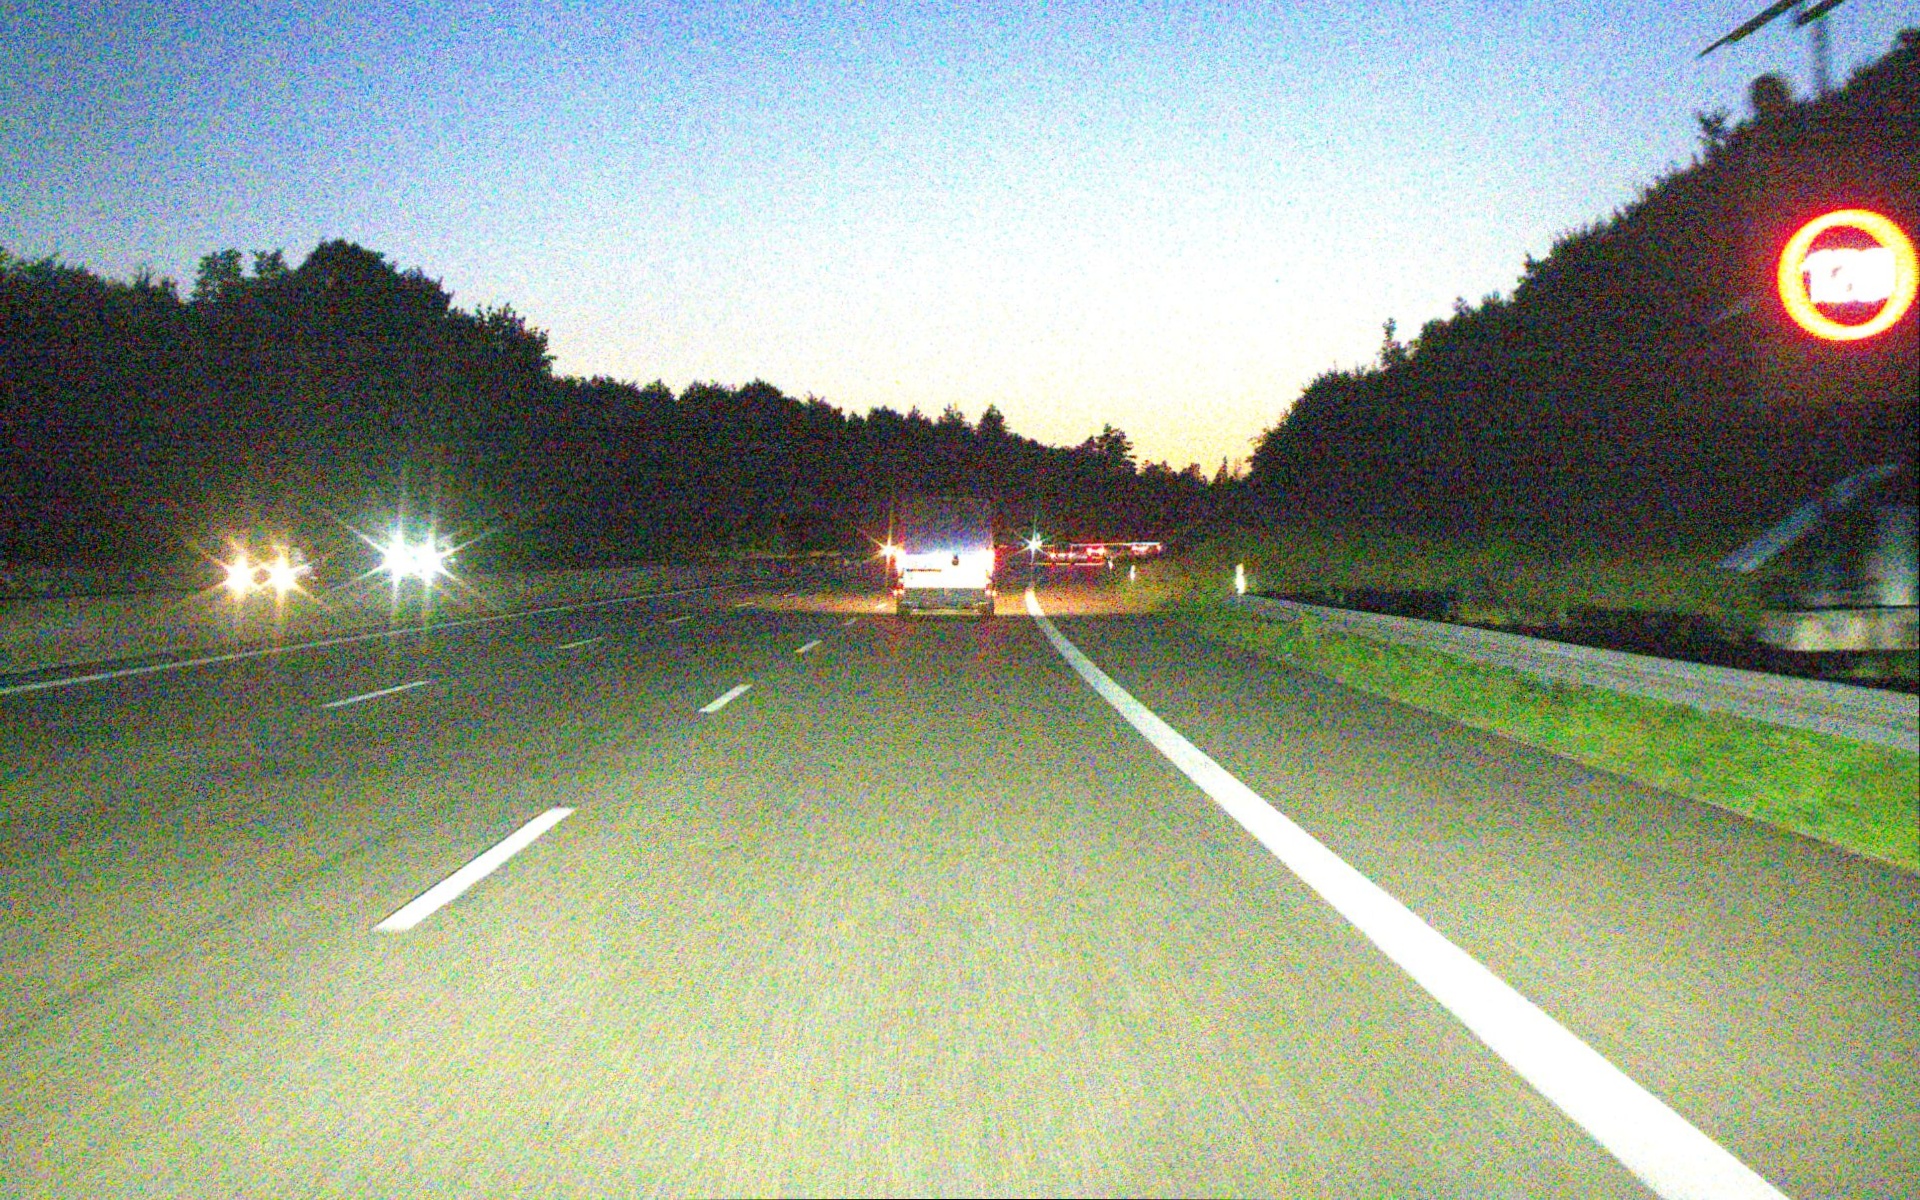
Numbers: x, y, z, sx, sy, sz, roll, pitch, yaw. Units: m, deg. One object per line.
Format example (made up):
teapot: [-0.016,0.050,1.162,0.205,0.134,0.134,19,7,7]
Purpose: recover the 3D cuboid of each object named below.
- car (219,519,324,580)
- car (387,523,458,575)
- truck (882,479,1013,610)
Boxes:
car: [-18.547,-1.344,92.734,1.993,1.597,4.213,1,0,0]
car: [-21.691,-2.042,138.884,2.026,2.007,5.187,1,0,0]
truck: [-0.307,-1.167,73.855,2.630,2.615,8.685,1,0,-1]
